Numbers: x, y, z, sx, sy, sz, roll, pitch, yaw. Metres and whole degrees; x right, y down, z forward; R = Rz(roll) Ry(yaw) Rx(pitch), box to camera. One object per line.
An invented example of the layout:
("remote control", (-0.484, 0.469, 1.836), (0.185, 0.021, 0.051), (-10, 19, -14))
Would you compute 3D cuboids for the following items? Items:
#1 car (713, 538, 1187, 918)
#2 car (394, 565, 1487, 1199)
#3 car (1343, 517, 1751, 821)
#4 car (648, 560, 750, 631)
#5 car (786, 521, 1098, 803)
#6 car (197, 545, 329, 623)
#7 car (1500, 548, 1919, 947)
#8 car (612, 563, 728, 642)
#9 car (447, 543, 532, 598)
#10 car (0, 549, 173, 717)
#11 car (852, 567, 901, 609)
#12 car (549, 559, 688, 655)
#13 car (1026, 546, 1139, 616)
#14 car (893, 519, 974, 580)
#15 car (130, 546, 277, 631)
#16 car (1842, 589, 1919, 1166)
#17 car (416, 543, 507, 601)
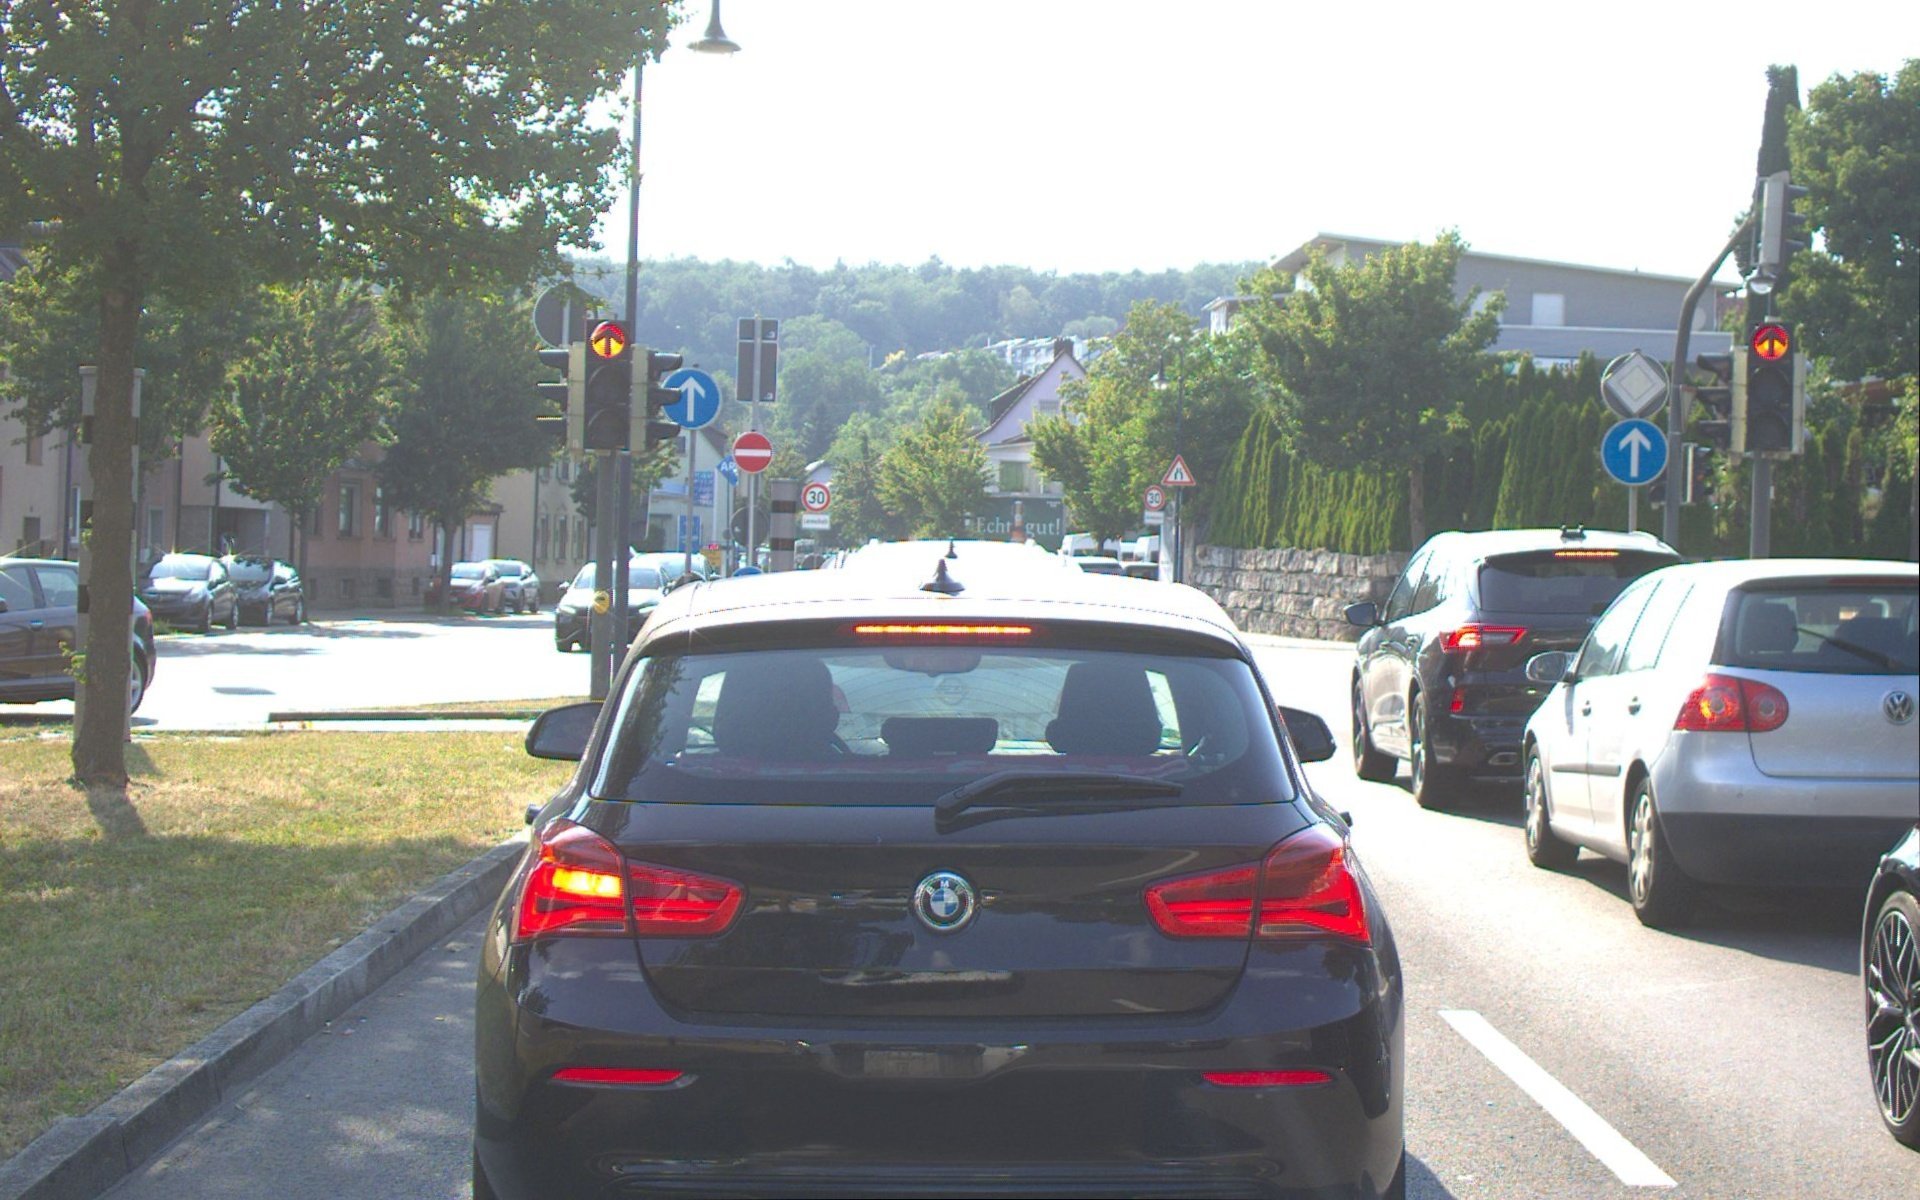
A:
("car", (-0.006, 0.456, 15.387), (1.816, 1.446, 4.242), (1, 1, 1))
("car", (-0.003, 0.652, 7.846), (1.791, 1.410, 4.347), (1, 1, 1))
("car", (3.496, 0.343, 21.234), (1.816, 1.660, 4.347), (1, 1, 1))
("car", (-5.303, -0.109, 70.250), (1.693, 1.348, 4.000), (1, 1, 1))
("car", (-0.072, 0.330, 22.319), (1.816, 1.635, 4.242), (1, 1, 1))
("car", (-14.880, -0.365, 73.593), (1.924, 1.590, 4.000), (1, 1, 1))
("car", (3.548, 0.513, 14.776), (1.816, 1.441, 4.347), (1, 1, 1))
("car", (-5.285, 0.020, 63.011), (1.693, 1.348, 4.000), (1, 1, 1))
("car", (-14.171, -0.901, 103.821), (1.924, 1.590, 4.000), (1, 1, 1))
("car", (-8.618, 0.263, 29.042), (1.647, 1.382, 4.184), (1, 1, 24))
("car", (-3.365, -0.499, 138.739), (1.924, 1.590, 4.000), (1, 1, -1))
("car", (-5.523, 0.086, 56.037), (1.766, 1.453, 4.000), (1, 1, 1))
("car", (2.727, -0.455, 77.690), (1.861, 1.480, 4.660), (1, 1, -6))
("car", (-0.789, -1.453, 98.911), (1.890, 1.696, 4.525), (-1, 1, -6))
("car", (-14.854, -0.257, 67.718), (1.924, 1.590, 4.000), (1, 1, 1))
("car", (3.212, 0.711, 6.883), (1.816, 1.384, 4.347), (1, 1, 1))
("car", (-14.232, -0.805, 98.316), (1.924, 1.590, 4.000), (1, 1, 1))
